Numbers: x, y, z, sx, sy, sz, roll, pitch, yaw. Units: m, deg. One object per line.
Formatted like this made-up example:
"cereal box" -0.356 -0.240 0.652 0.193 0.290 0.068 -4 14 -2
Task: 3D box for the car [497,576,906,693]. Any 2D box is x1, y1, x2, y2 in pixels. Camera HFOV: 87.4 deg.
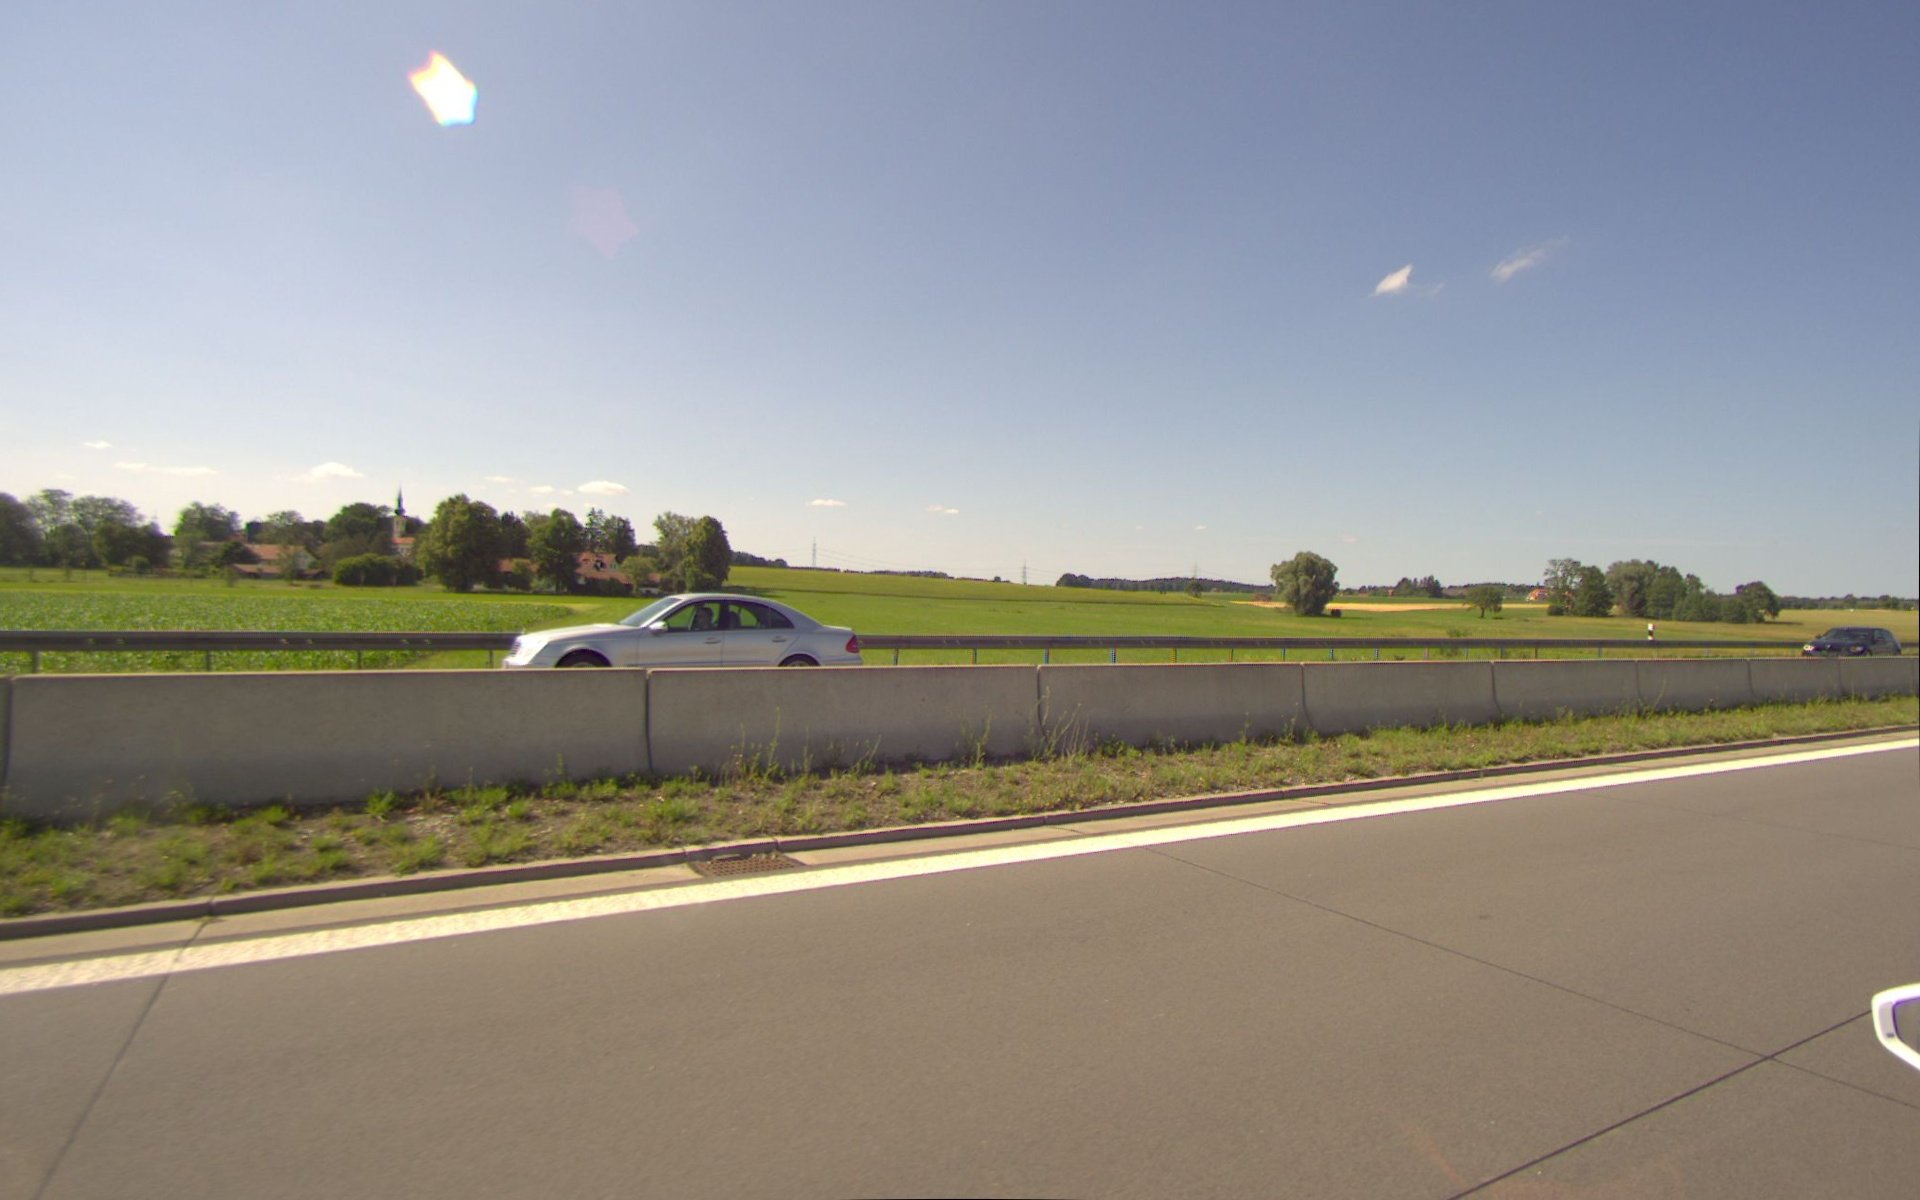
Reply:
"car" -3.486 0.458 13.980 5.234 1.383 1.814 1 -1 -31

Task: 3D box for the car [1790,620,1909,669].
"car" 31.480 1.525 35.518 4.860 1.606 1.848 1 -1 -32
